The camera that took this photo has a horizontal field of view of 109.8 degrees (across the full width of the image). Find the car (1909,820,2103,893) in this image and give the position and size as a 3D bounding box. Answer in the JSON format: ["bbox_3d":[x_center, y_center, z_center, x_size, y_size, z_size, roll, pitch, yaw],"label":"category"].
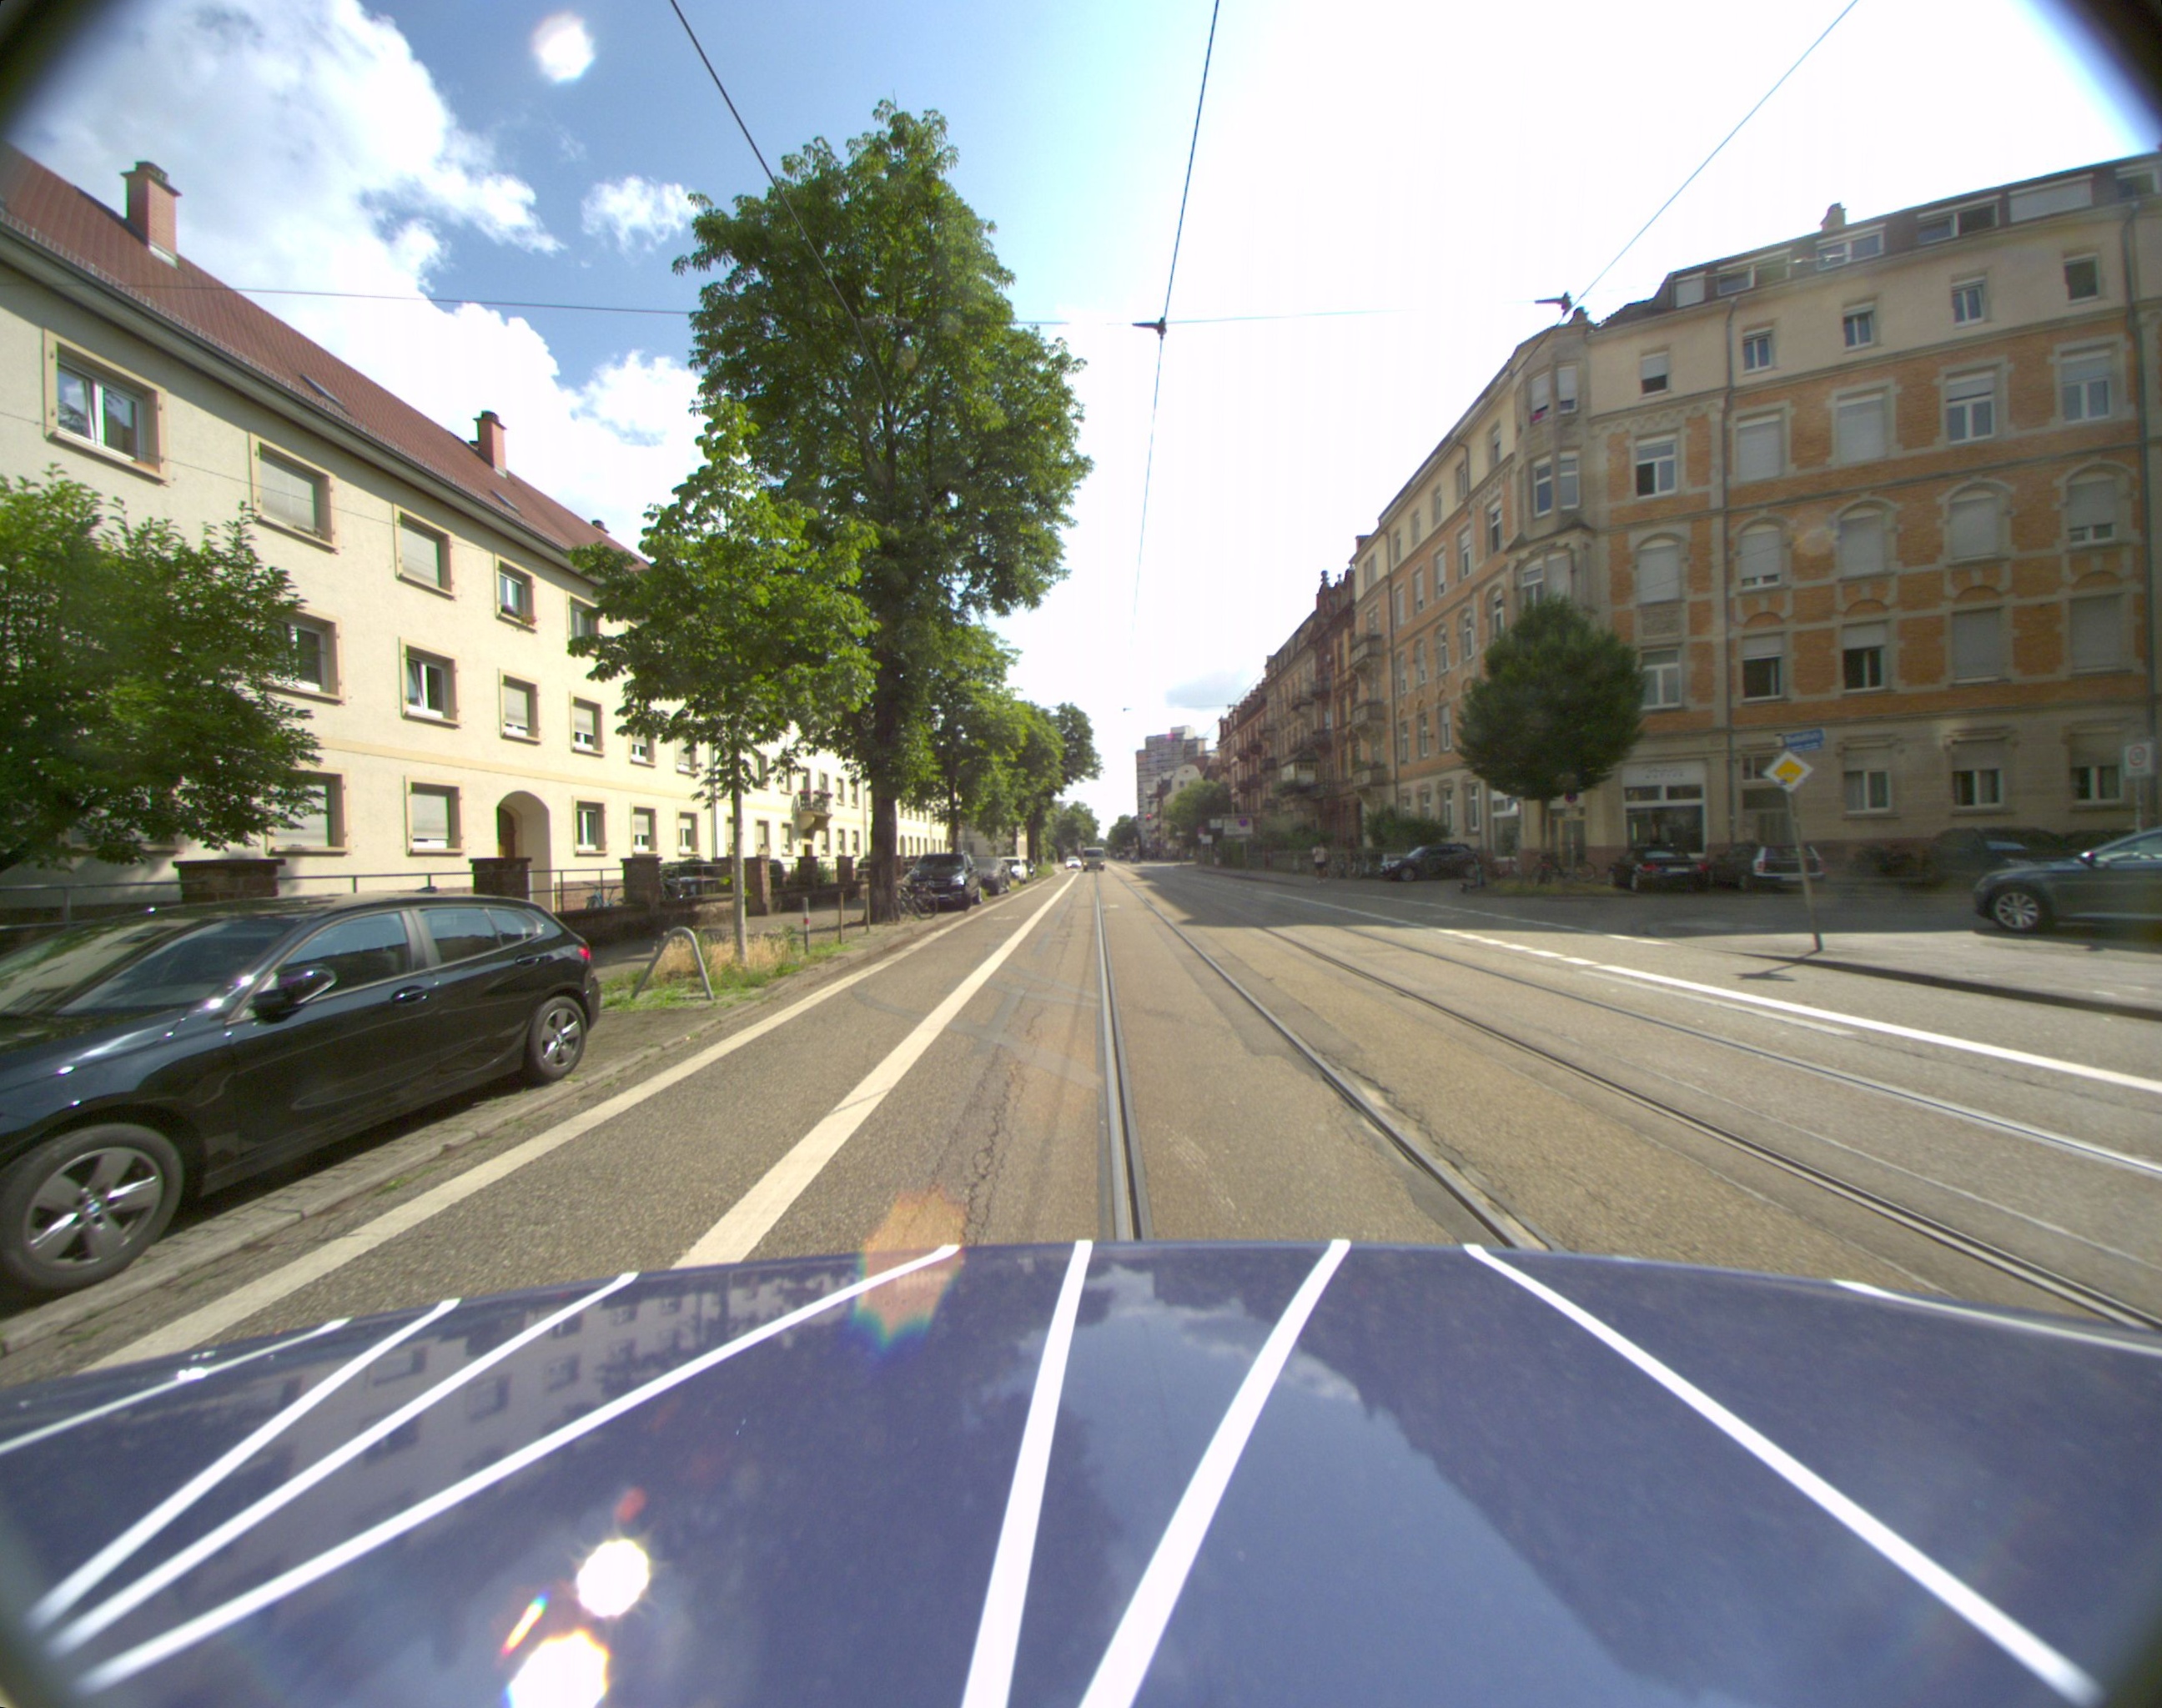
[{"bbox_3d":[24.234,0.043,20.129,1.616,1.711,4.006,-1,1,24],"label":"car"}]

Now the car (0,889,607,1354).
[{"bbox_3d":[-4.710,1.088,3.945,1.710,1.470,4.196,-4,0,1],"label":"car"}]

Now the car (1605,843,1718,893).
[{"bbox_3d":[17.618,0.388,23.266,1.641,1.352,3.932,-2,0,20],"label":"car"}]

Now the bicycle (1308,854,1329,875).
[{"bbox_3d":[11.615,0.489,37.152,0.422,0.971,1.949,-2,0,1],"label":"bicycle"}]

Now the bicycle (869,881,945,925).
[{"bbox_3d":[-4.323,1.209,18.957,1.712,1.001,0.638,-2,1,1],"label":"bicycle"}]

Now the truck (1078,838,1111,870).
[{"bbox_3d":[1.206,0.022,71.540,2.532,2.722,6.513,-2,0,-3],"label":"truck"}]

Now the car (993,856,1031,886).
[{"bbox_3d":[-3.976,0.938,44.352,1.746,1.571,4.248,-2,0,0],"label":"car"}]

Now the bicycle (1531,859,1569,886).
[{"bbox_3d":[15.031,0.581,24.364,0.524,0.833,1.700,-2,0,14],"label":"bicycle"}]

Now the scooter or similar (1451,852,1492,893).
[{"bbox_3d":[12.434,0.575,24.183,1.367,1.228,0.403,-3,1,-27],"label":"scooter or similar"}]

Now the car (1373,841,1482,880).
[{"bbox_3d":[14.040,0.272,30.957,3.611,1.395,1.787,-2,0,5],"label":"car"}]

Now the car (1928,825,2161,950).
[{"bbox_3d":[13.420,0.365,8.917,1.689,1.451,4.764,-2,0,1],"label":"car"}]

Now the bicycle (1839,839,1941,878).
[{"bbox_3d":[25.913,0.155,24.380,2.176,1.202,0.625,-2,0,19],"label":"bicycle"}]

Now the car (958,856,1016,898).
[{"bbox_3d":[-4.076,0.947,33.535,1.867,1.643,4.637,-2,0,1],"label":"car"}]

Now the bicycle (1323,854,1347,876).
[{"bbox_3d":[11.642,0.507,34.868,0.422,0.971,1.949,-2,0,1],"label":"bicycle"}]

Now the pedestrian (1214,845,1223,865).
[{"bbox_3d":[11.541,0.087,63.770,0.489,1.693,1.151,-2,1,-1],"label":"pedestrian"}]

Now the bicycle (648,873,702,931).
[{"bbox_3d":[-9.366,1.091,17.585,0.304,1.237,1.459,-2,0,6],"label":"bicycle"}]

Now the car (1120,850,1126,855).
[{"bbox_3d":[12.867,-0.479,232.225,1.841,1.482,3.892,-2,0,1],"label":"car"}]

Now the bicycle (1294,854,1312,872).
[{"bbox_3d":[11.975,0.474,41.046,0.422,0.927,1.949,-2,0,1],"label":"bicycle"}]

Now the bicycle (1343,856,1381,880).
[{"bbox_3d":[12.016,0.594,32.522,1.456,0.971,0.404,-2,0,1],"label":"bicycle"}]

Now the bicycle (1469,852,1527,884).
[{"bbox_3d":[14.700,0.492,26.787,1.759,1.057,0.524,-2,0,-4],"label":"bicycle"}]

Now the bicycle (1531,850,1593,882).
[{"bbox_3d":[16.555,0.420,26.174,1.695,1.057,0.525,-2,0,11],"label":"bicycle"}]

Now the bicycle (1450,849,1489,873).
[{"bbox_3d":[16.809,0.295,32.854,1.456,0.971,0.404,-2,0,1],"label":"bicycle"}]

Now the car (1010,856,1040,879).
[{"bbox_3d":[-3.881,0.903,53.125,1.665,1.512,4.287,-2,0,0],"label":"car"}]

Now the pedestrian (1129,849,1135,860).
[{"bbox_3d":[7.682,0.083,114.462,0.783,1.565,0.692,-2,0,-13],"label":"pedestrian"}]

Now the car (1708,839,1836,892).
[{"bbox_3d":[20.028,0.301,22.213,1.640,1.407,3.794,-2,0,24],"label":"car"}]

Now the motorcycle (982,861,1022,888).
[{"bbox_3d":[-4.205,1.101,40.473,2.012,1.329,0.747,-2,1,-3],"label":"motorcycle"}]

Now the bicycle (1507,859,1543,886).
[{"bbox_3d":[14.489,0.603,24.829,0.524,0.833,1.700,-2,0,14],"label":"bicycle"}]

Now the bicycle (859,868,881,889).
[{"bbox_3d":[-10.351,1.208,37.276,0.538,0.958,1.679,-2,0,1],"label":"bicycle"}]

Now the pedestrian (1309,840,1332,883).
[{"bbox_3d":[10.042,0.297,31.873,0.534,1.750,1.105,-4,1,1],"label":"pedestrian"}]

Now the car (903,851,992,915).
[{"bbox_3d":[-4.067,0.820,23.884,1.831,1.772,4.733,-2,0,1],"label":"car"}]

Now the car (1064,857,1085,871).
[{"bbox_3d":[-0.812,1.171,90.630,1.753,1.471,3.650,-4,0,-10],"label":"car"}]
